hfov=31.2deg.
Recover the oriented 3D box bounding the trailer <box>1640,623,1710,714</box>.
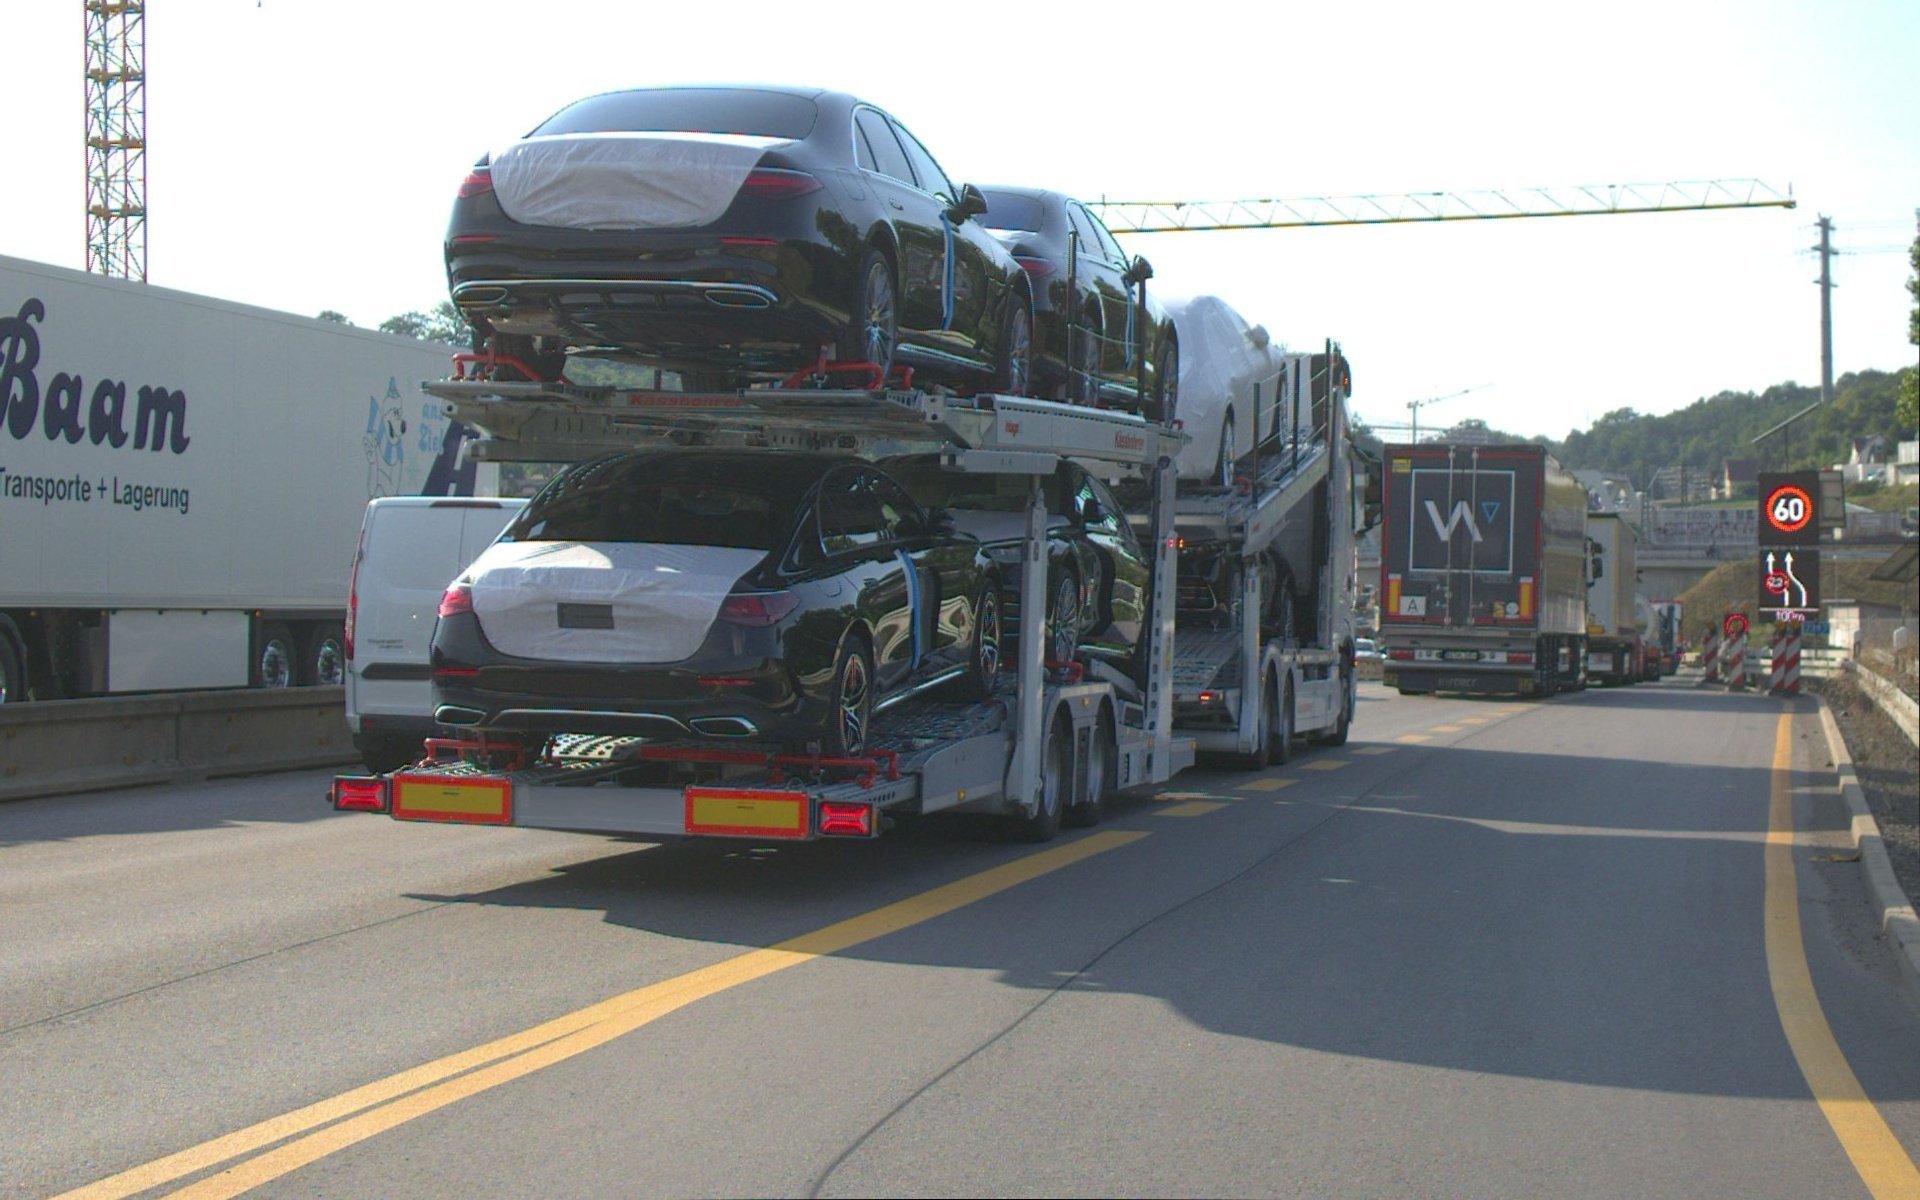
[{"bbox_3d":[35.713,3.309,171.350,3.105,4.299,14.243,0,0,13],"label":"trailer"}]

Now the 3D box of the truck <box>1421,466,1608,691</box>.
[{"bbox_3d":[10.465,-0.361,64.421,2.887,3.983,6.620,0,0,14],"label":"truck"}]

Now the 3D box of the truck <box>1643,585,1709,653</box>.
[{"bbox_3d":[46.071,1.235,221.096,4.031,4.271,6.620,0,0,13],"label":"truck"}]

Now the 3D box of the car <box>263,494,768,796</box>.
[{"bbox_3d":[-3.168,0.293,25.726,2.030,1.974,4.976,2,1,14],"label":"car"}]

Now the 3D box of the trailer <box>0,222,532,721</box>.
[{"bbox_3d":[-7.881,-0.991,32.966,2.629,4.053,14.070,-1,-1,14],"label":"trailer"}]

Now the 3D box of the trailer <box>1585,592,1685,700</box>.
[{"bbox_3d":[26.554,1.768,134.754,3.387,3.983,14.736,0,0,13],"label":"trailer"}]

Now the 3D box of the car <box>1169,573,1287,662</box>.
[{"bbox_3d":[5.286,0.350,67.461,1.831,1.649,3.998,-1,-1,11],"label":"car"}]

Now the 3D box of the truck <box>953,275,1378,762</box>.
[{"bbox_3d":[2.073,-0.653,31.679,2.850,3.983,6.620,0,0,13],"label":"truck"}]

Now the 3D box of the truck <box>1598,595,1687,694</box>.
[{"bbox_3d":[28.322,1.831,142.483,3.392,3.983,6.620,0,0,13],"label":"truck"}]

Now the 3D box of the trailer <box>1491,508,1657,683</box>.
[{"bbox_3d":[15.525,-0.063,86.022,3.387,3.983,14.736,0,0,13],"label":"trailer"}]

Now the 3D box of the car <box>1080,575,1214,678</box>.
[{"bbox_3d":[3.378,0.475,61.414,1.831,1.746,3.998,-1,-1,11],"label":"car"}]

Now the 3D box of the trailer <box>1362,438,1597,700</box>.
[{"bbox_3d":[9.117,-0.431,59.216,2.960,4.078,10.786,-1,-1,14],"label":"trailer"}]

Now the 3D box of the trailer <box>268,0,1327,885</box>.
[{"bbox_3d":[0.060,-0.725,22.715,2.859,3.983,15.736,0,0,13],"label":"trailer"}]

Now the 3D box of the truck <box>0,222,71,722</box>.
[{"bbox_3d":[-9.492,-1.025,26.229,2.629,4.053,6.126,-1,-1,14],"label":"truck"}]

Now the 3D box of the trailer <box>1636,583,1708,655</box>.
[{"bbox_3d":[44.276,1.203,213.369,4.099,4.299,14.243,0,0,13],"label":"trailer"}]
